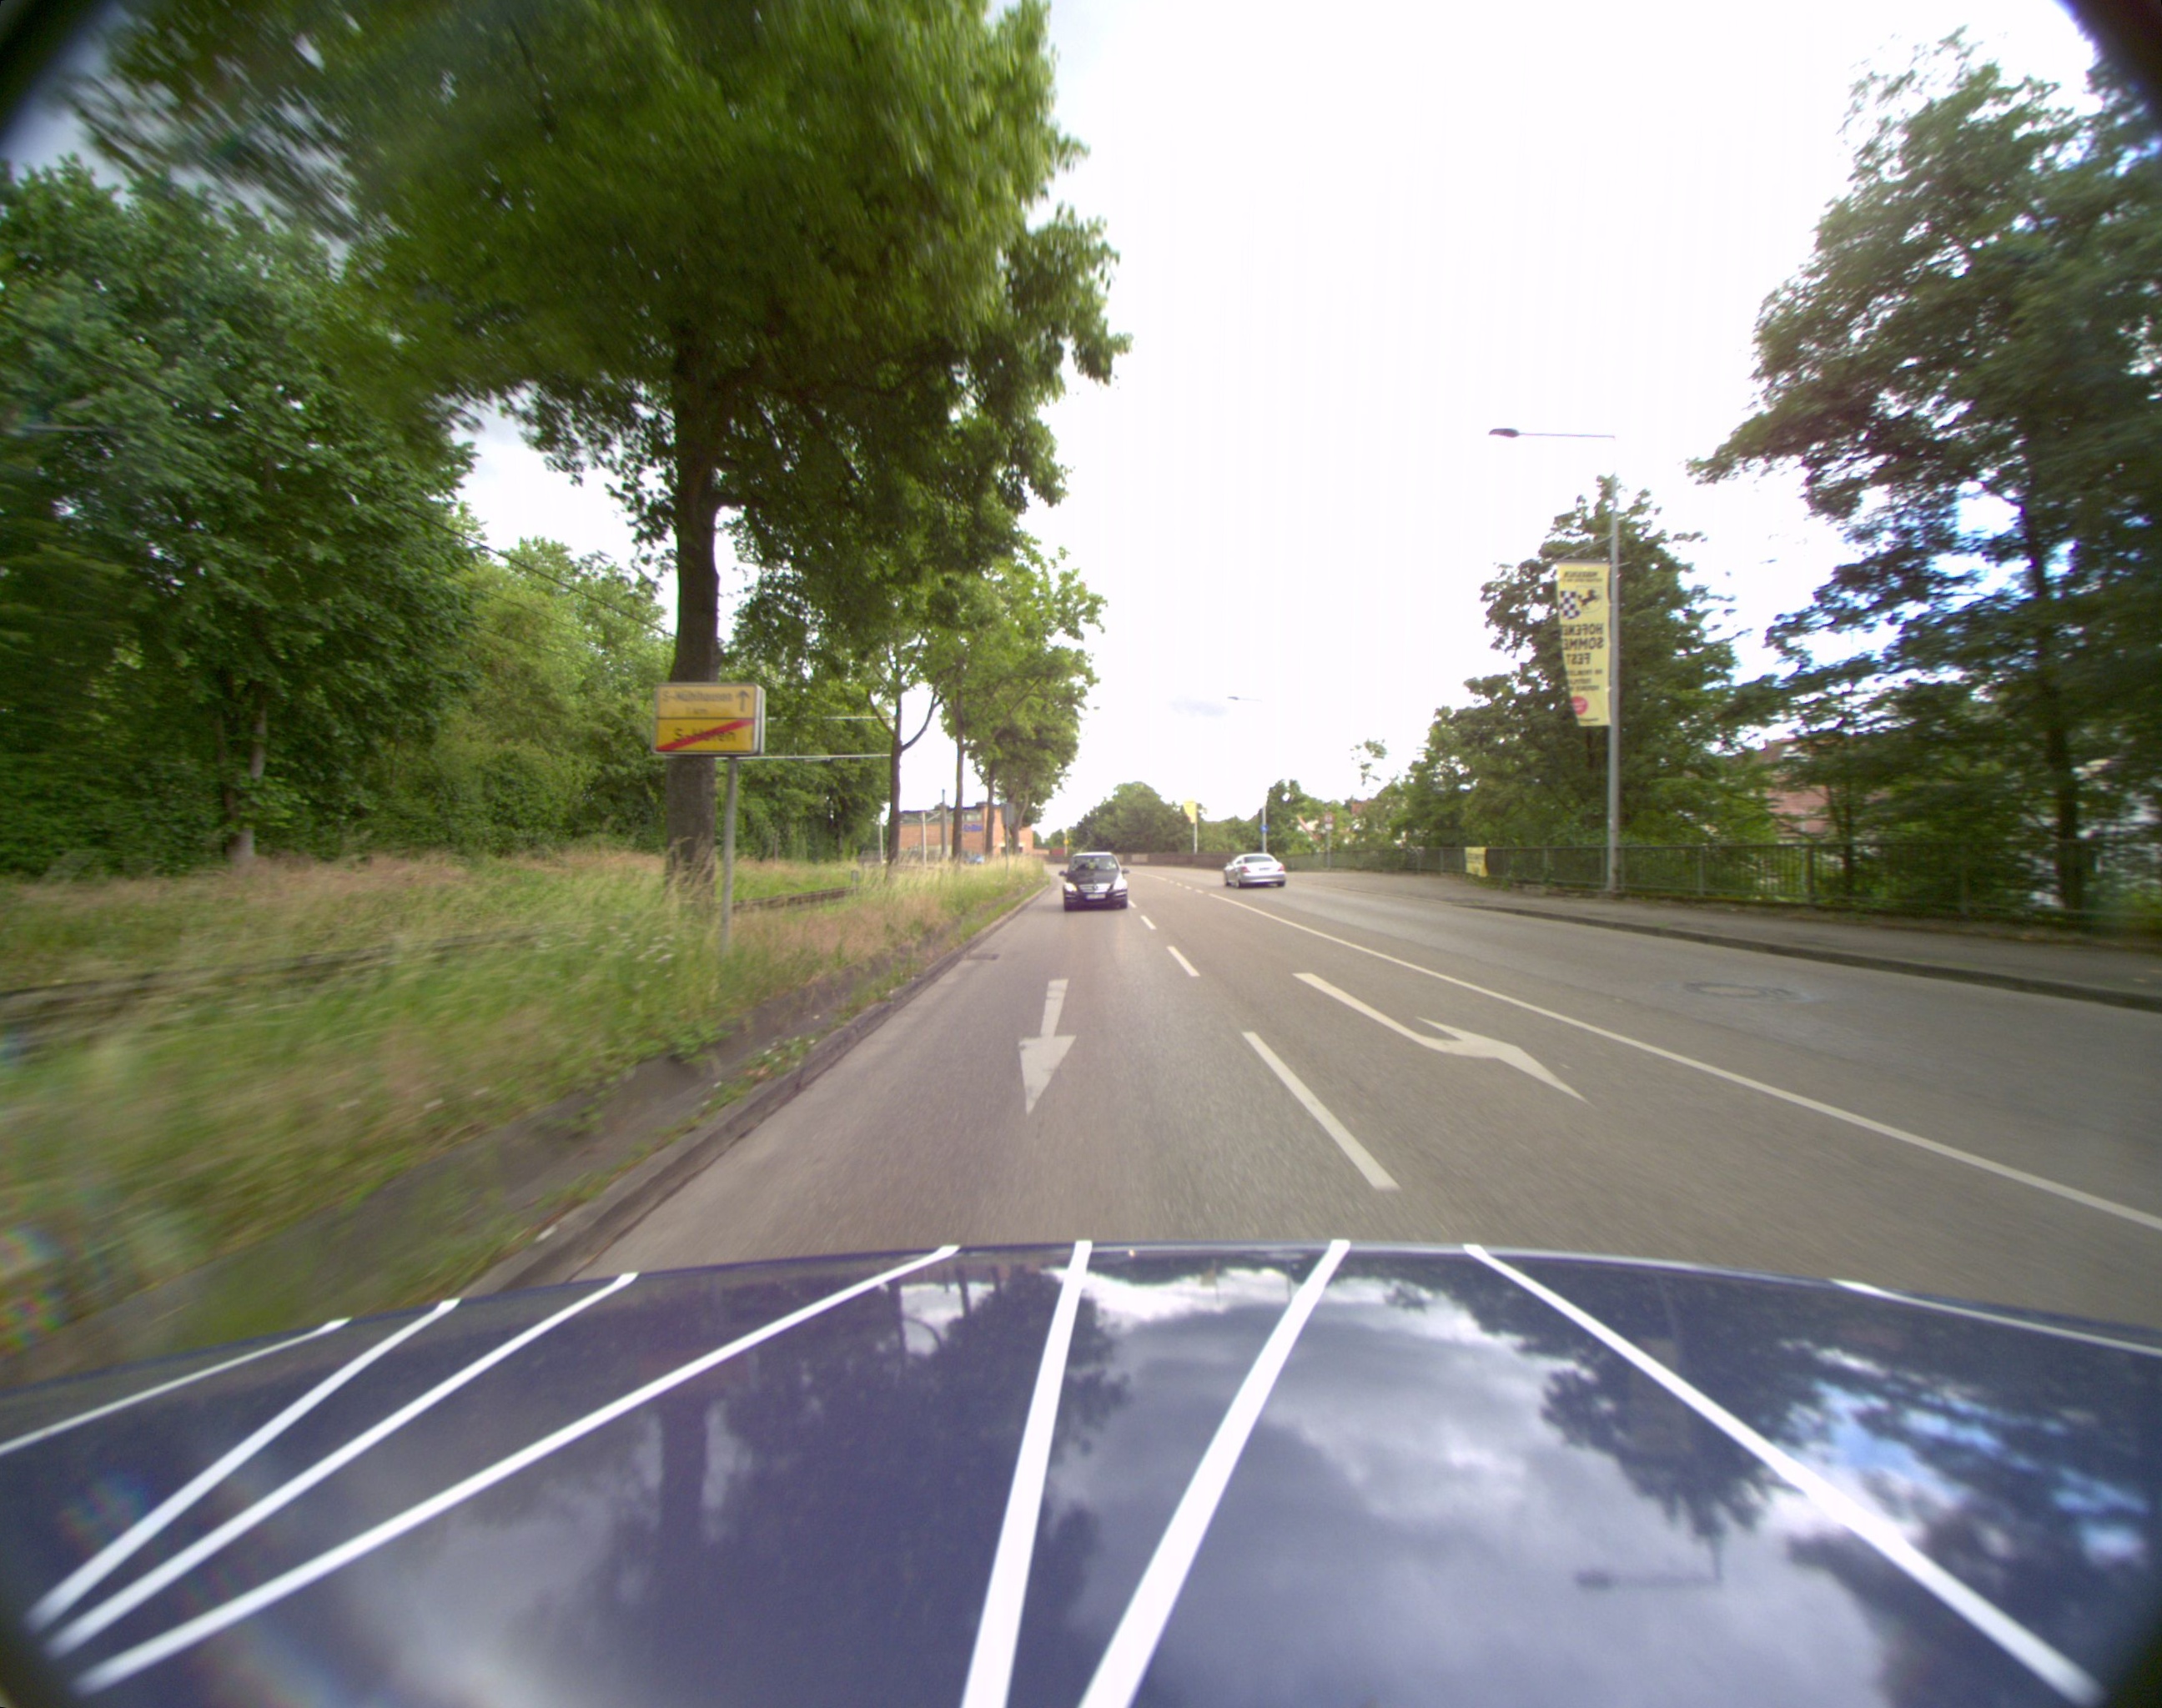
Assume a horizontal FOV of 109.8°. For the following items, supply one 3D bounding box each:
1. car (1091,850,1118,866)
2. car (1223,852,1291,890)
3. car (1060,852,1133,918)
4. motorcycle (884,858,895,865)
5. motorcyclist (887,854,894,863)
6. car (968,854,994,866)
[{"bbox_3d":[2.216,0.397,72.404,1.587,1.457,3.691,1,-1,-15],"label":"car"},{"bbox_3d":[6.813,0.612,29.737,1.763,1.329,3.695,-2,0,0],"label":"car"},{"bbox_3d":[0.339,0.791,21.409,1.751,1.556,4.073,-3,1,-2],"label":"car"},{"bbox_3d":[-29.108,1.091,115.740,1.715,1.055,0.686,-1,1,37],"label":"motorcycle"},{"bbox_3d":[-28.938,0.749,115.579,0.838,1.348,0.622,-1,1,38],"label":"motorcyclist"},{"bbox_3d":[-13.189,0.805,99.988,1.588,1.477,3.687,-4,1,-37],"label":"car"}]
